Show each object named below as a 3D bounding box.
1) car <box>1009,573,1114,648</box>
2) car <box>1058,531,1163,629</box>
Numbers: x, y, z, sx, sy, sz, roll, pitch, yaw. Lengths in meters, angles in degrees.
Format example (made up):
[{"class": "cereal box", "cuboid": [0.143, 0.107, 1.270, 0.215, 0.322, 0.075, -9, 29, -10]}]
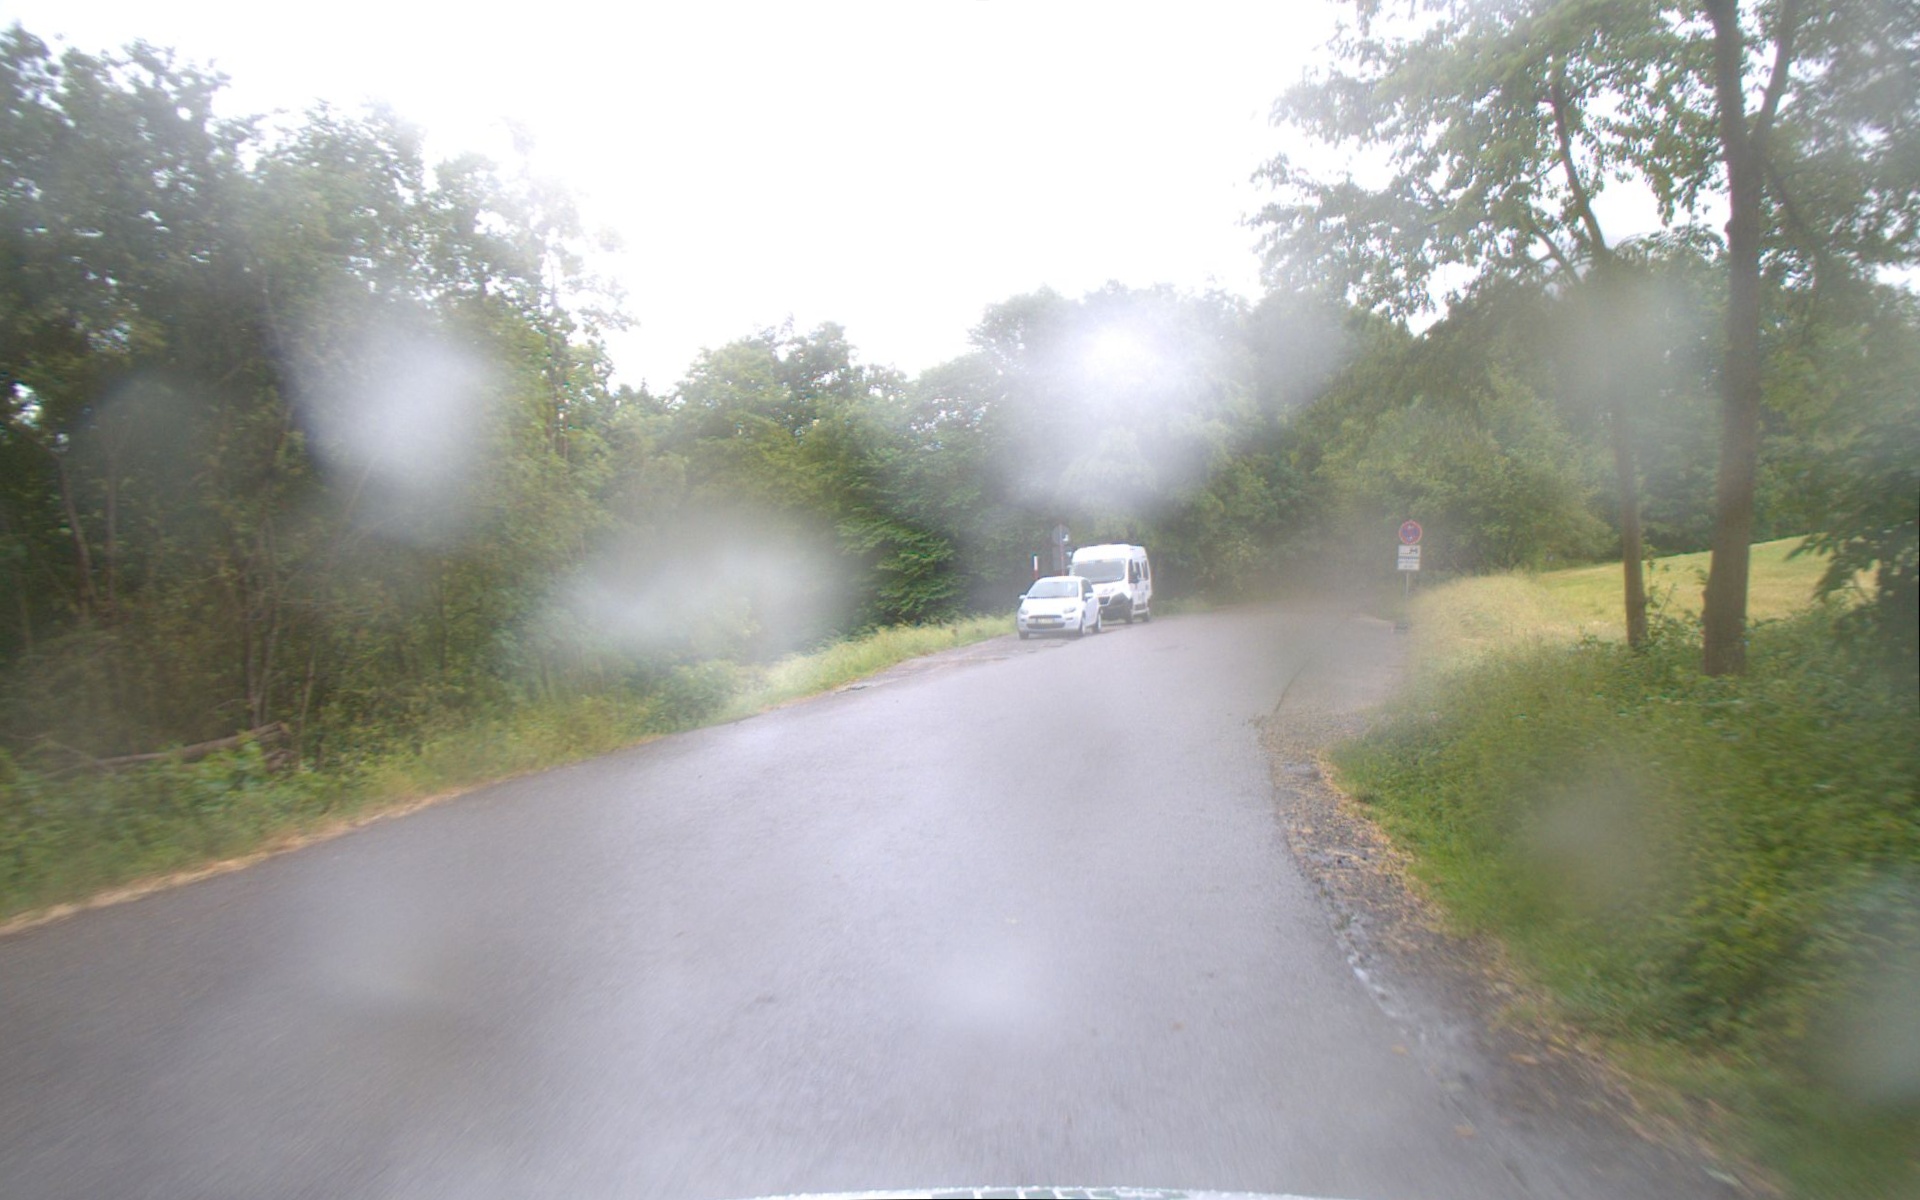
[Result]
[{"class": "car", "cuboid": [2.680, 0.234, 42.664, 1.822, 1.623, 4.499, -3, 1, 14]}, {"class": "car", "cuboid": [4.842, -0.713, 52.347, 2.224, 2.743, 6.055, -4, 1, 14]}]
